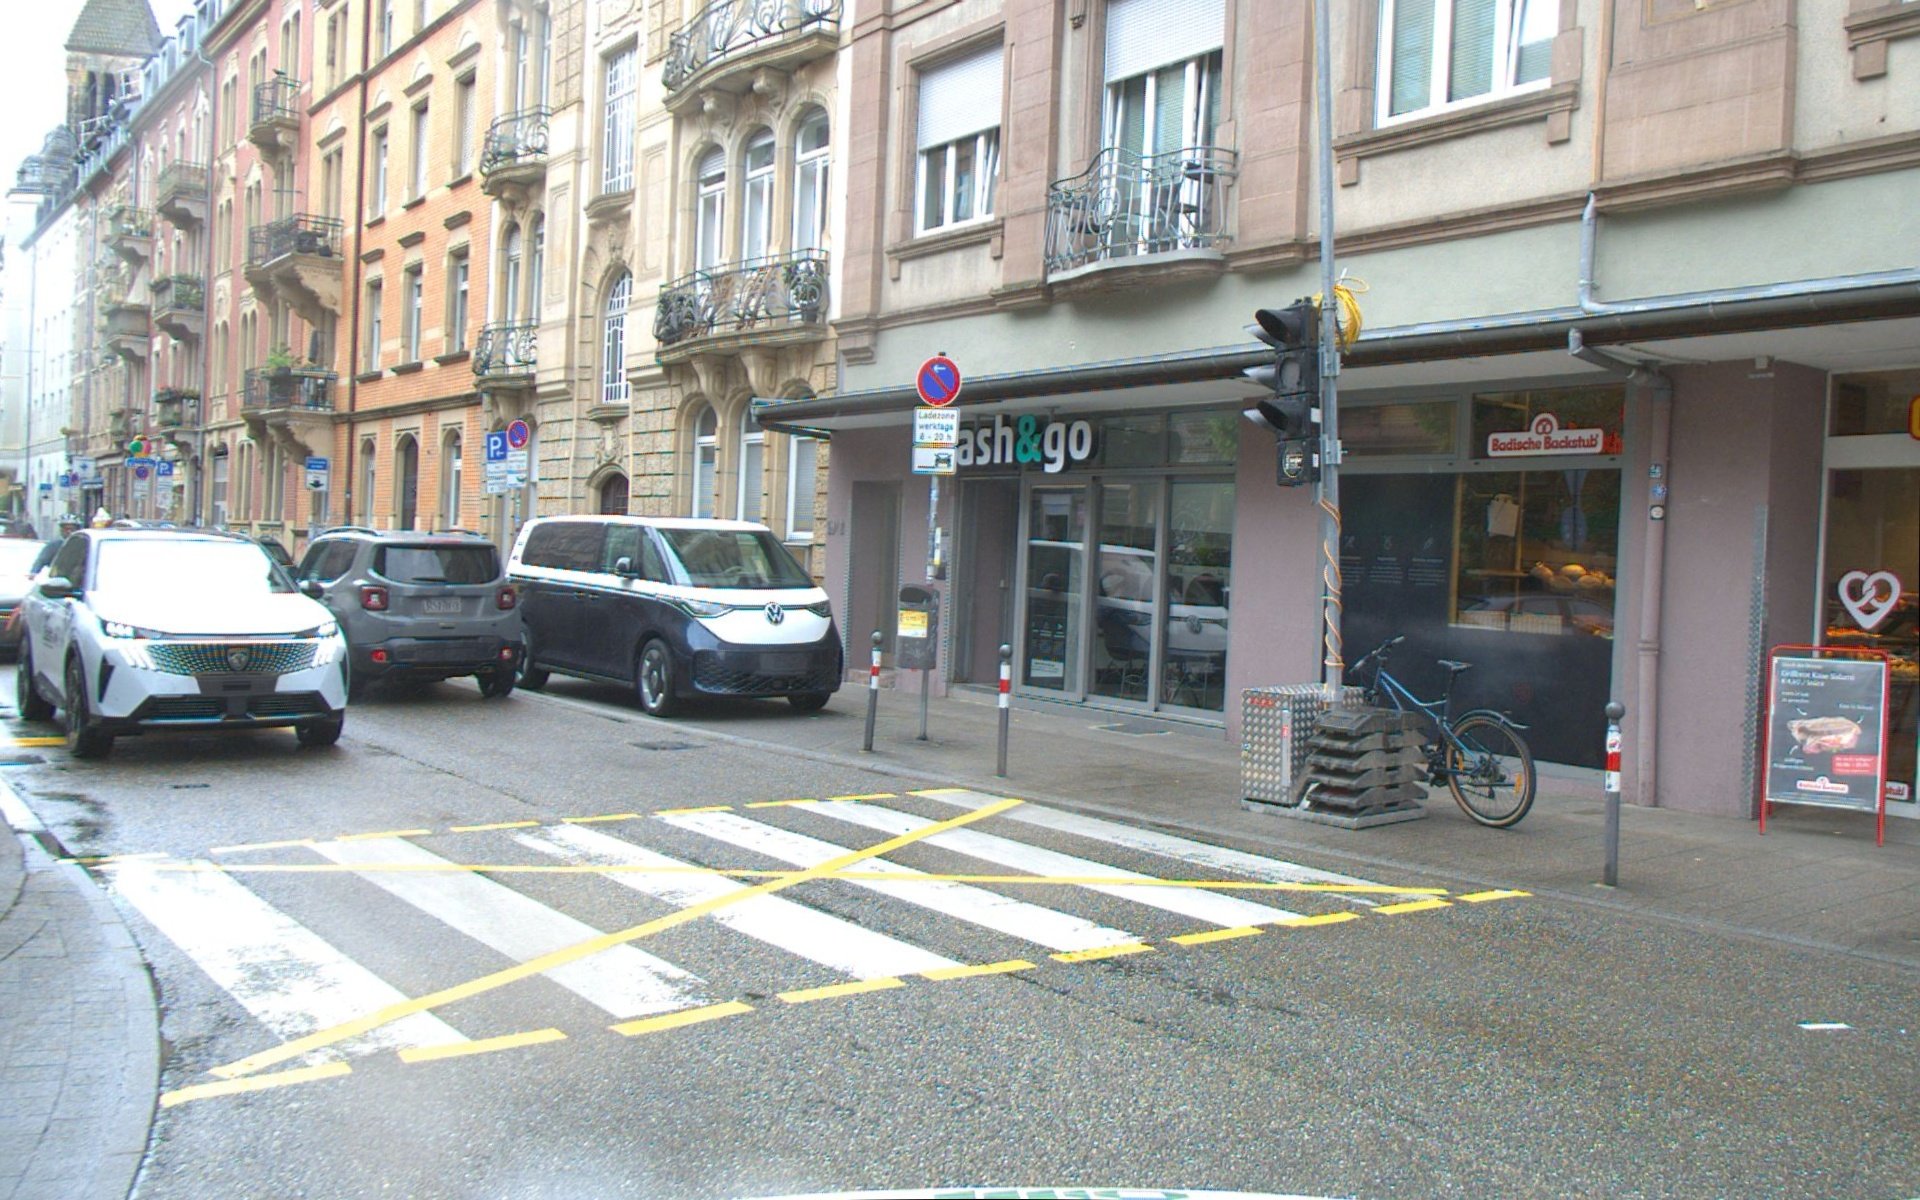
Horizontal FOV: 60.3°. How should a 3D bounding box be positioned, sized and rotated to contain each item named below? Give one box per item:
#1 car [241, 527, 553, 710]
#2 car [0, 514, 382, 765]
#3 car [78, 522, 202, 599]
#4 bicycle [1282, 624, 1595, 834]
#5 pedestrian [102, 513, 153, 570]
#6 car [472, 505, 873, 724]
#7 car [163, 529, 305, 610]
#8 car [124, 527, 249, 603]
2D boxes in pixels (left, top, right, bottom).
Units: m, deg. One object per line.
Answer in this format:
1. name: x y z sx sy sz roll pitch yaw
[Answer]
1. car: -6.169 0.100 17.775 1.885 1.699 4.447 1 2 -37
2. car: -6.523 0.239 13.663 1.845 1.689 4.941 1 0 -38
3. car: -20.802 -1.029 41.878 1.979 1.810 4.764 1 2 -37
4. bicycle: 3.064 0.783 10.771 0.620 1.147 1.911 1 1 -39
5. pedestrian: -27.185 -1.920 54.030 0.665 0.819 1.945 1 39 -1
6. car: -3.222 0.029 17.557 1.980 1.972 5.158 0 2 -38
7. car: -14.602 -0.574 33.136 1.772 1.492 4.428 1 0 -35
8. car: -17.529 -0.831 37.384 1.856 1.588 4.292 0 2 -35
